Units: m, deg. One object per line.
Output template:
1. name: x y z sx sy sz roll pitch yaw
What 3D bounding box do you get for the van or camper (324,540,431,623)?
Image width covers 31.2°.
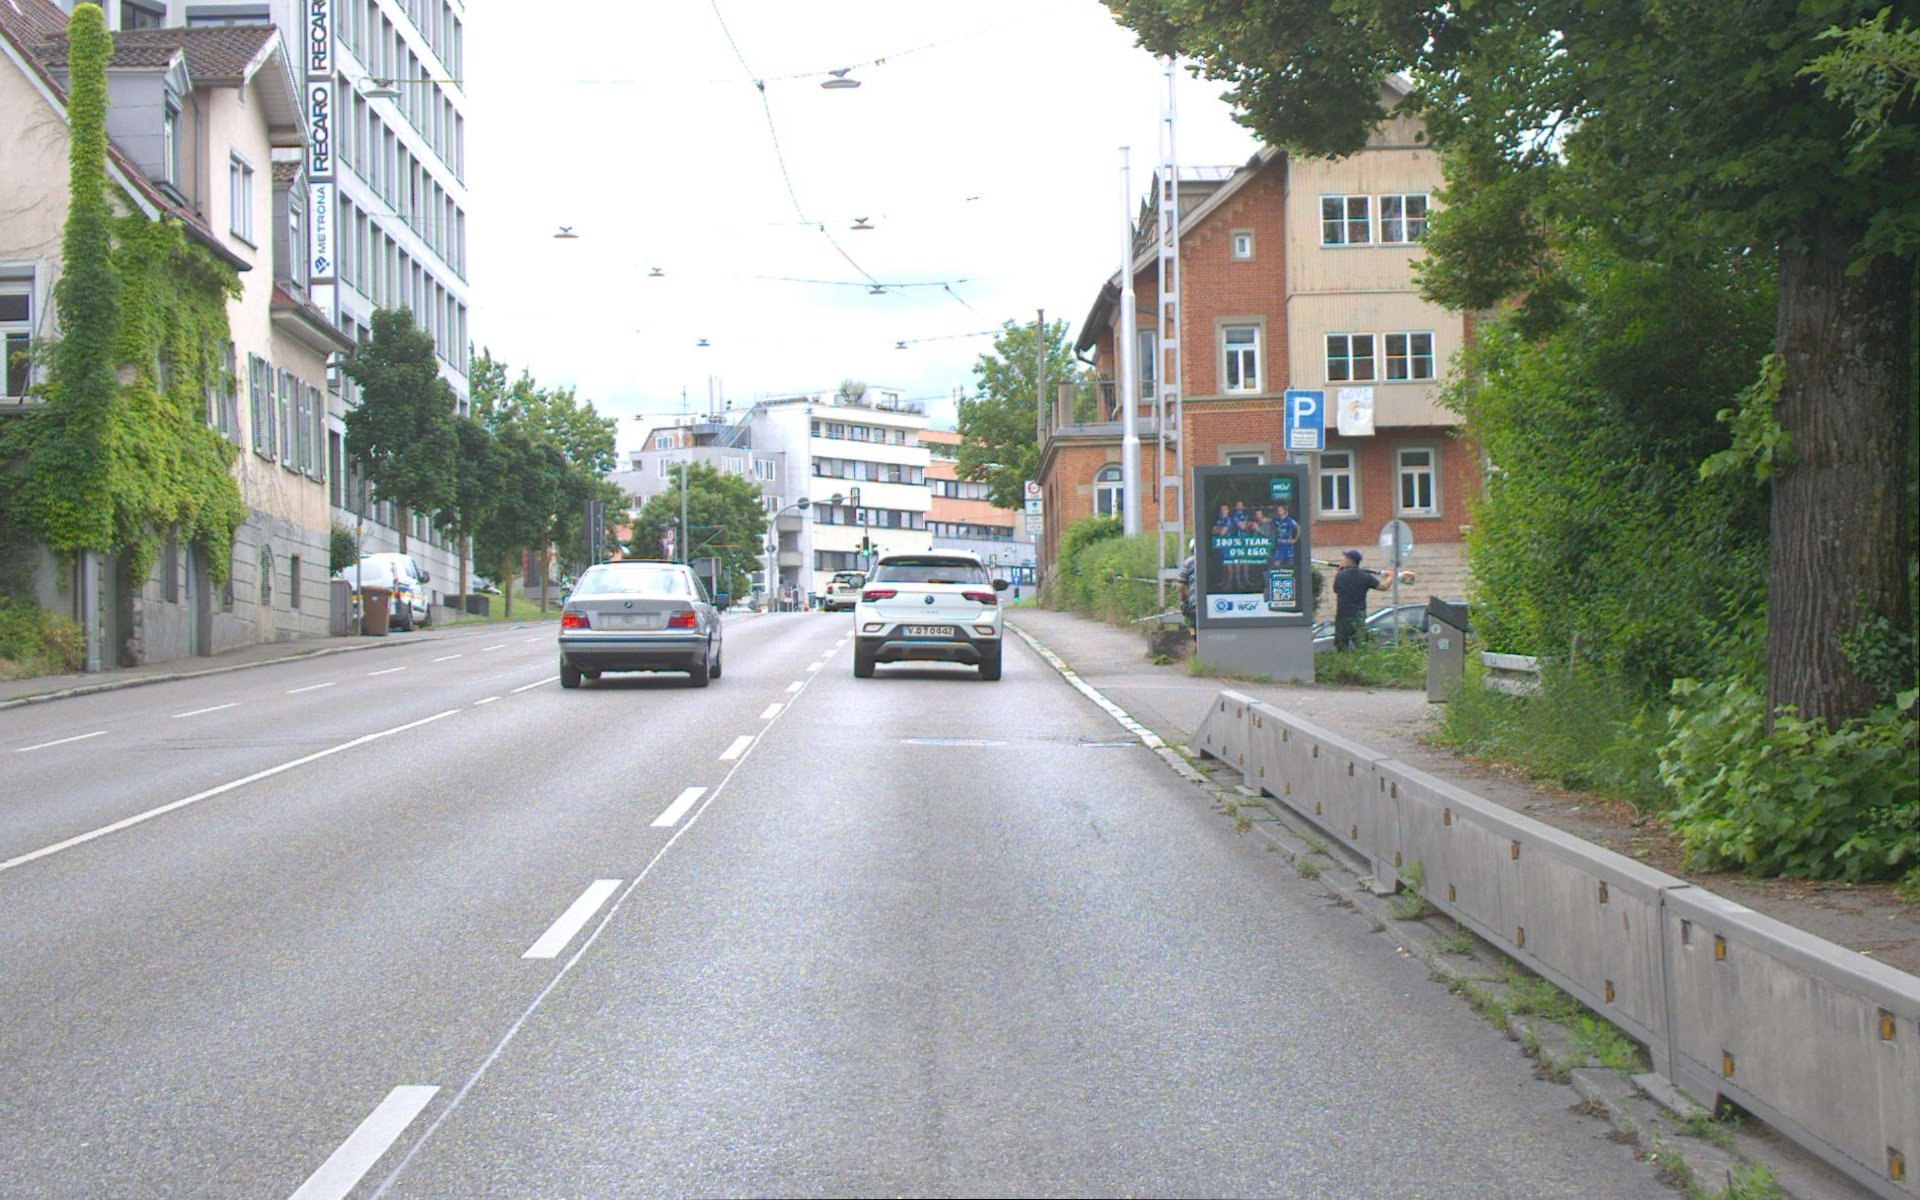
1. van or camper: -14.482 -0.486 85.696 2.060 1.961 4.873 -1 1 -3

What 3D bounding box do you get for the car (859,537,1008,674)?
1. car: -0.330 0.033 42.133 1.700 1.543 3.736 2 1 -1

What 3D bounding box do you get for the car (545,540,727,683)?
1. car: -3.599 0.094 38.708 1.700 1.511 3.736 -1 1 -1

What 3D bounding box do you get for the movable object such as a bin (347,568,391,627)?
1. movable object such as a bin: -12.424 -0.058 72.323 0.810 1.185 0.699 3 0 -6

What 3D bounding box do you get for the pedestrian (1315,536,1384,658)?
1. pedestrian: 5.094 -0.046 44.970 0.583 1.566 0.647 -2 1 -30

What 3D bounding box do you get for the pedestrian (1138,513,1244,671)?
1. pedestrian: 2.817 -0.097 41.934 0.812 1.878 0.948 -3 1 -37

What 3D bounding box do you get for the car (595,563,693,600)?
1. car: -13.509 -0.766 147.068 1.780 1.539 3.990 -1 -1 44

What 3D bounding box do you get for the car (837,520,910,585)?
1. car: -2.267 -1.257 91.069 1.830 1.645 4.000 -1 1 -1

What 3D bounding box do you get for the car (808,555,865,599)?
1. car: -4.265 -0.819 119.003 1.830 1.459 4.000 -1 1 -1
